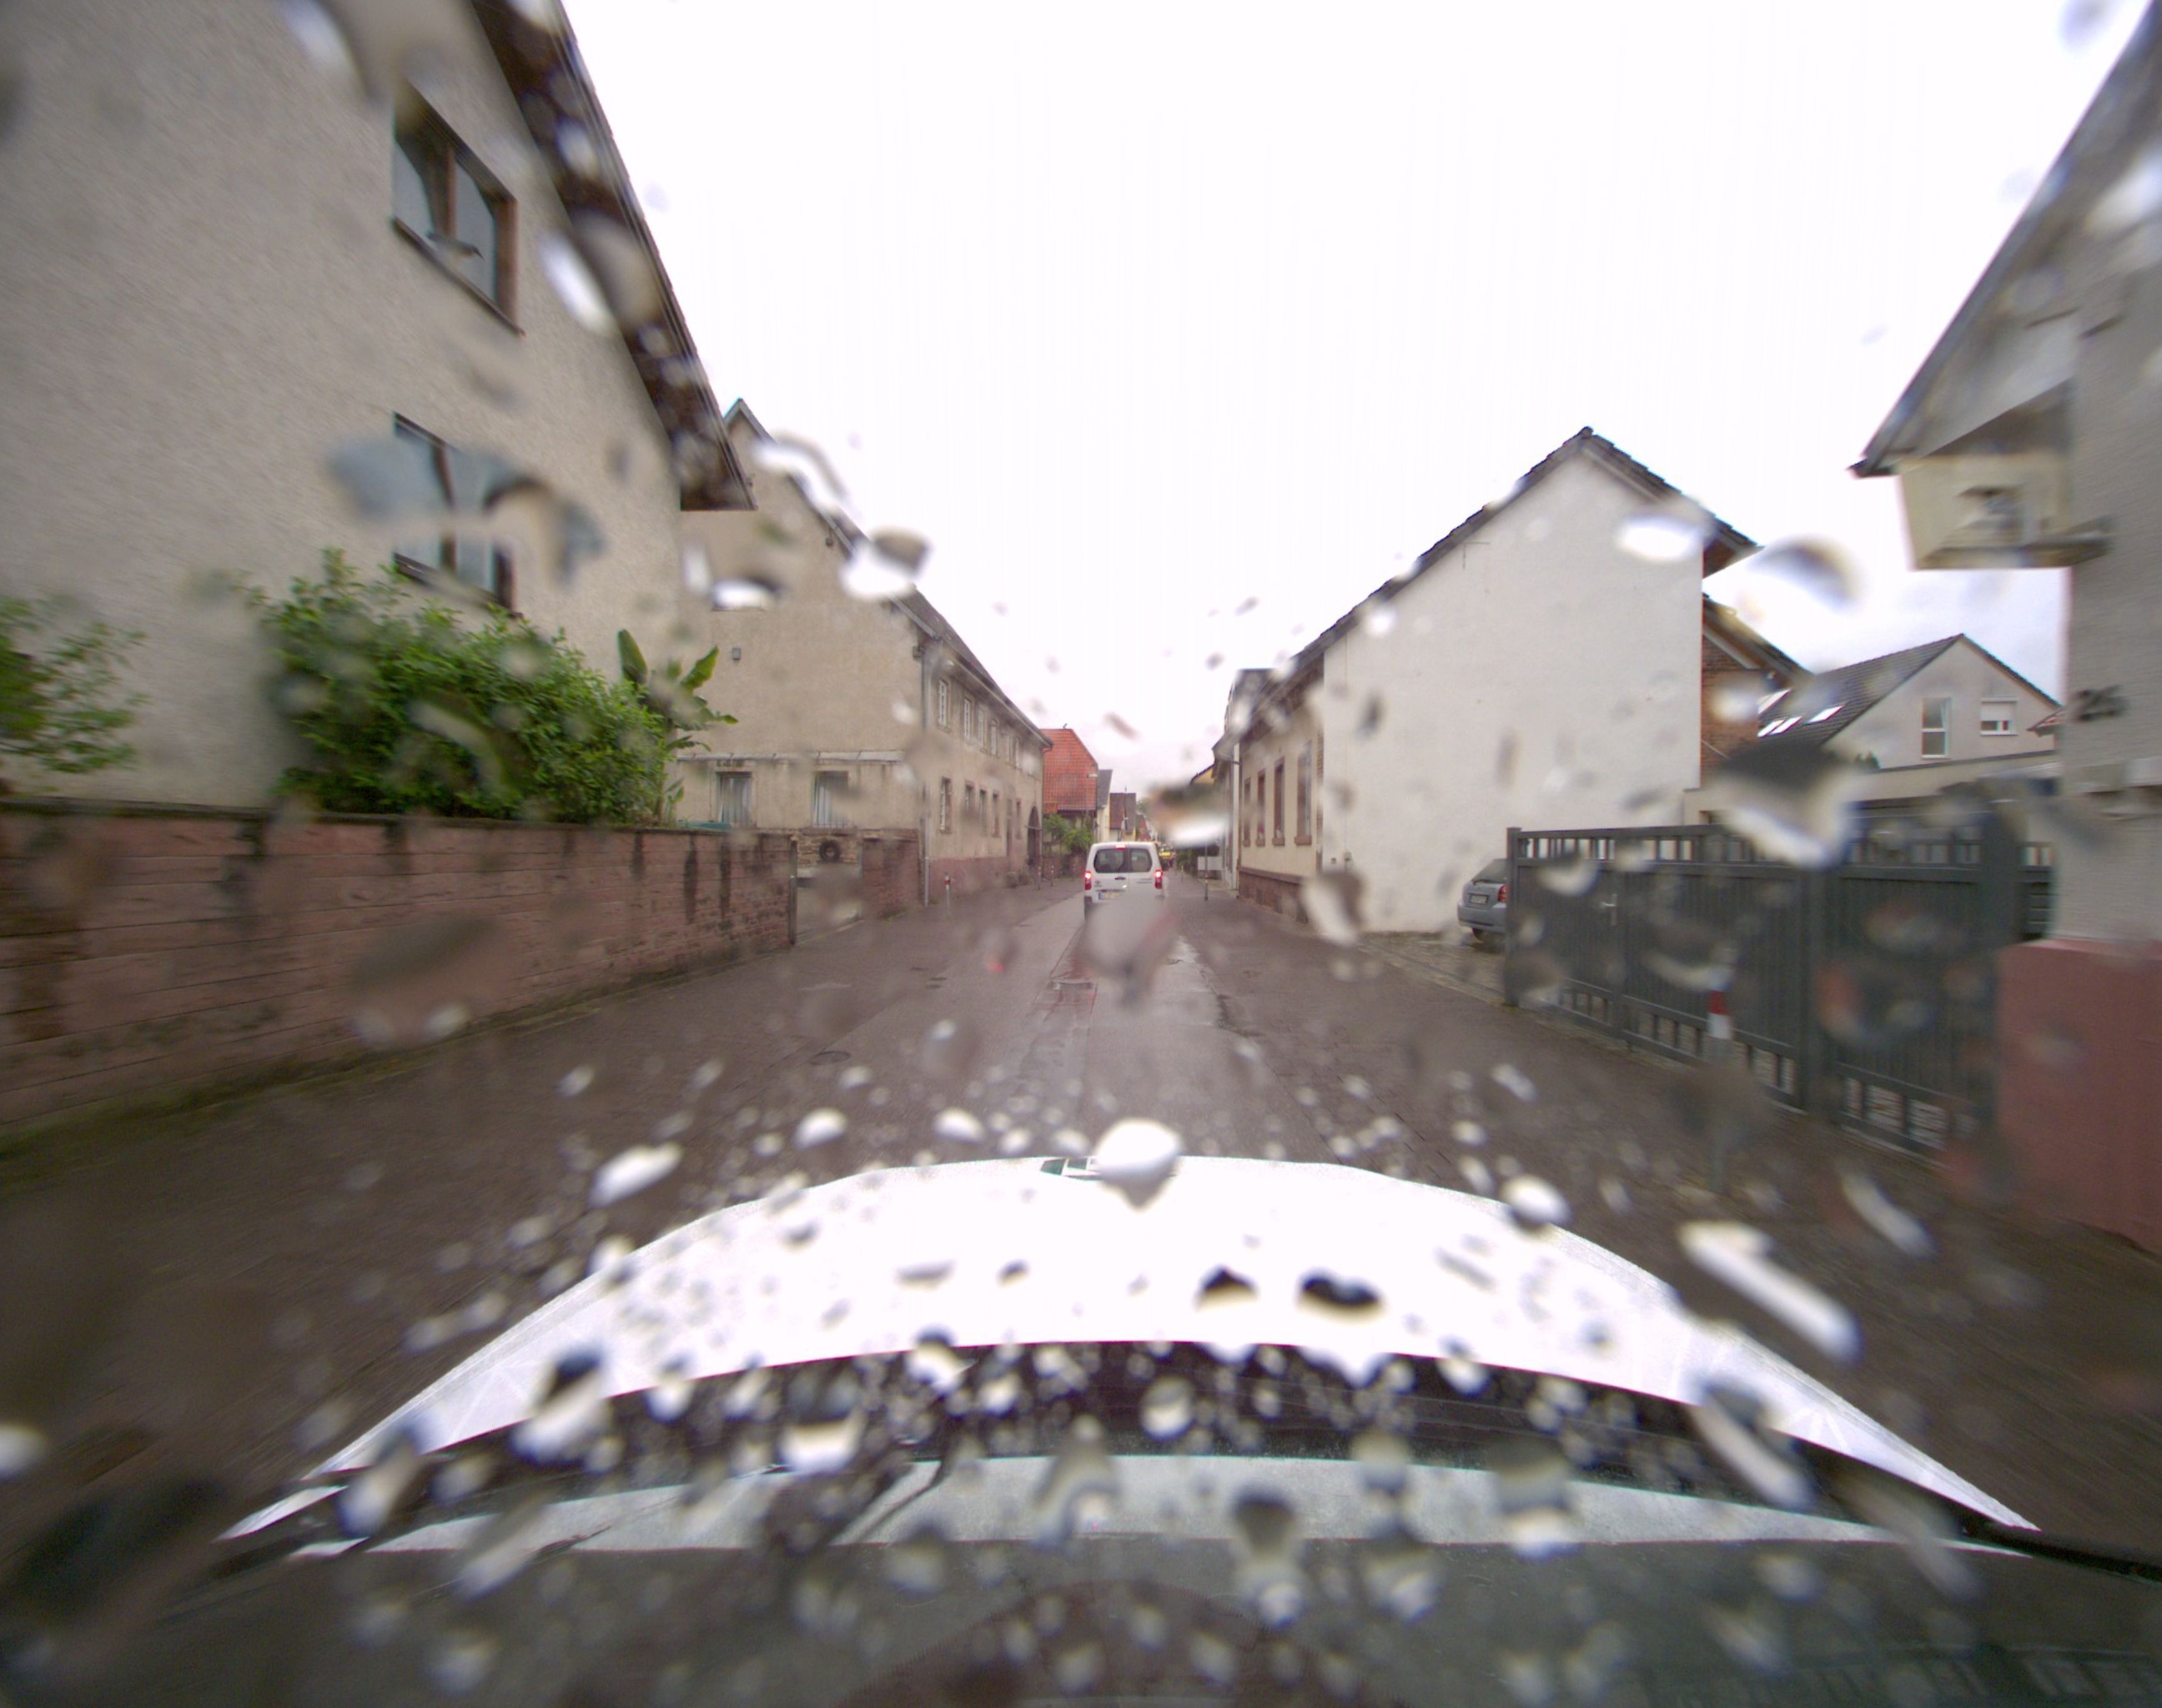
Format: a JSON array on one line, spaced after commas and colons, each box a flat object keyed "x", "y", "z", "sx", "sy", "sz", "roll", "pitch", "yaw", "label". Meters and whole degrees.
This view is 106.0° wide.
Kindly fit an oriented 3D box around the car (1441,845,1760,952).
[{"x": 8.003, "y": 0.661, "z": 12.811, "sx": 3.885, "sy": 1.498, "sz": 1.850, "roll": 1, "pitch": -1, "yaw": -2, "label": "car"}]

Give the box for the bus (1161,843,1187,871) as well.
[{"x": 11.160, "y": 0.372, "z": 98.118, "sx": 2.779, "sy": 3.180, "sz": 8.191, "roll": 2, "pitch": 0, "yaw": 6, "label": "bus"}]

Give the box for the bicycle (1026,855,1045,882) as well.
[{"x": -2.067, "y": 0.670, "z": 36.835, "sx": 0.480, "sy": 1.180, "sz": 1.839, "roll": 1, "pitch": -1, "yaw": 8, "label": "bicycle"}]

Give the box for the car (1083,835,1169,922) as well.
[{"x": 1.160, "y": 0.554, "z": 19.431, "sx": 1.786, "sy": 1.819, "sz": 4.108, "roll": -1, "pitch": -1, "yaw": 6, "label": "car"}]

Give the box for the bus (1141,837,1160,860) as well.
[{"x": 11.116, "y": -0.793, "z": 129.663, "sx": 2.779, "sy": 3.329, "sz": 8.191, "roll": 2, "pitch": 0, "yaw": 6, "label": "bus"}]

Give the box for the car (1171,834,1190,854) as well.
[{"x": 10.571, "y": -1.031, "z": 86.675, "sx": 1.818, "sy": 2.014, "sz": 3.699, "roll": 1, "pitch": -1, "yaw": 6, "label": "car"}]

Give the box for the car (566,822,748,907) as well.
[{"x": -9.784, "y": 0.143, "z": 19.259, "sx": 1.979, "sy": 1.715, "sz": 4.306, "roll": 0, "pitch": 3, "yaw": 0, "label": "car"}]

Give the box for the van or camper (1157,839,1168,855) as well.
[{"x": 15.638, "y": -1.246, "z": 155.933, "sx": 1.825, "sy": 2.925, "sz": 5.374, "roll": 1, "pitch": -1, "yaw": 7, "label": "van or camper"}]

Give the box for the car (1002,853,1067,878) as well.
[{"x": -2.688, "y": 0.648, "z": 47.328, "sx": 3.508, "sy": 1.376, "sz": 1.598, "roll": 0, "pitch": 0, "yaw": 8, "label": "car"}]

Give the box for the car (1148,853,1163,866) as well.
[{"x": 7.986, "y": 0.614, "z": 87.218, "sx": 1.553, "sy": 1.371, "sz": 3.591, "roll": 1, "pitch": -1, "yaw": 7, "label": "car"}]

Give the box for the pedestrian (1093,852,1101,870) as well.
[{"x": 1.312, "y": 0.568, "z": 66.952, "sx": 0.566, "sy": 1.530, "sz": 0.568, "roll": -1, "pitch": -1, "yaw": -4, "label": "pedestrian"}]

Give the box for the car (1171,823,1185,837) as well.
[{"x": 14.972, "y": -3.671, "z": 125.447, "sx": 1.983, "sy": 2.014, "sz": 4.008, "roll": 1, "pitch": -1, "yaw": 7, "label": "car"}]
